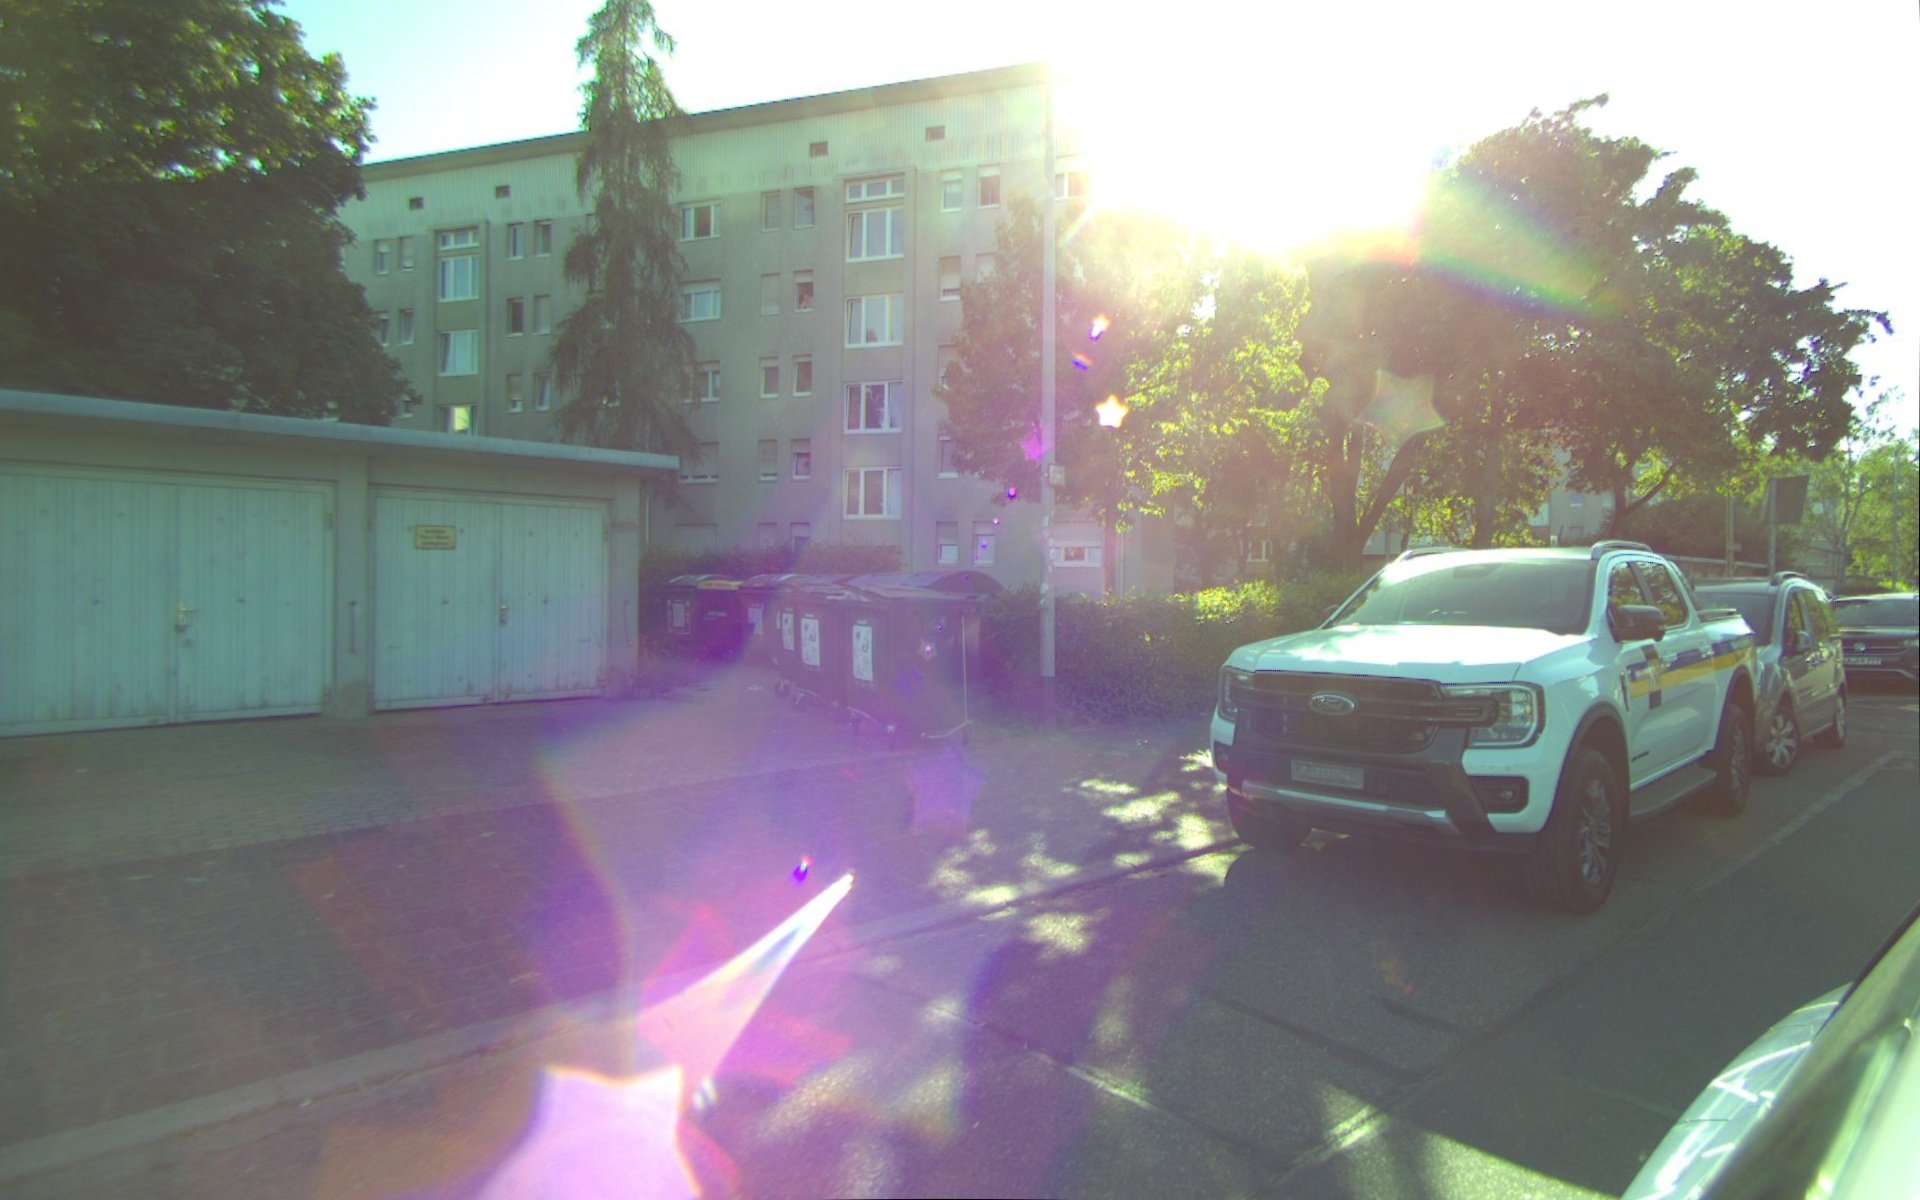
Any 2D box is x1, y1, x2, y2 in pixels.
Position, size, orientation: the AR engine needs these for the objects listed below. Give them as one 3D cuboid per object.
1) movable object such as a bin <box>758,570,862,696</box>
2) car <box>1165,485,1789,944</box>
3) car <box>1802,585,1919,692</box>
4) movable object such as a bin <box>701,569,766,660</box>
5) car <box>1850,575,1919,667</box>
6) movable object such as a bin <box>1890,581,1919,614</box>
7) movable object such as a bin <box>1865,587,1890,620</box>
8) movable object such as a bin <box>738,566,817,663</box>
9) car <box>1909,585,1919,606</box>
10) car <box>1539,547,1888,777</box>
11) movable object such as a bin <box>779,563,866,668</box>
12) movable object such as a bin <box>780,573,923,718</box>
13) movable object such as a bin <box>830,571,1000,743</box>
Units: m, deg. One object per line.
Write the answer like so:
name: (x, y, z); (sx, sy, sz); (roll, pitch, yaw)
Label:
movable object such as a bin: (-1.749, 0.342, 11.690); (0.847, 1.364, 1.081); (-1, 2, -30)
car: (3.677, 0.479, 6.582); (5.184, 1.864, 1.909); (0, -1, -42)
car: (15.714, 0.567, 17.036); (3.955, 1.614, 1.806); (-1, 0, -42)
movable object such as a bin: (-3.725, 0.214, 16.654); (0.695, 1.434, 0.898); (-2, 2, -41)
car: (19.475, 0.363, 20.462); (4.300, 1.629, 1.771); (-2, 4, -43)
movable object such as a bin: (43.236, -0.118, 46.022); (1.160, 1.459, 1.276); (-1, 4, -43)
movable object such as a bin: (42.297, 0.156, 46.658); (0.834, 1.459, 0.753); (-1, 3, -43)
movable object such as a bin: (-2.841, 0.195, 15.688); (0.818, 1.434, 1.079); (-1, 2, -35)
car: (71.383, -0.367, 73.500); (3.493, 1.527, 1.578); (-1, 0, 44)
car: (7.692, 0.509, 10.161); (4.474, 1.814, 1.836); (0, -1, -40)
movable object such as a bin: (-1.987, 0.194, 14.521); (0.818, 1.434, 1.079); (-1, 2, -35)
movable object such as a bin: (-1.134, 0.407, 10.406); (1.032, 1.364, 1.256); (-1, 2, -30)
movable object such as a bin: (-0.421, 0.437, 8.898); (1.032, 1.364, 1.256); (-1, 2, -30)
